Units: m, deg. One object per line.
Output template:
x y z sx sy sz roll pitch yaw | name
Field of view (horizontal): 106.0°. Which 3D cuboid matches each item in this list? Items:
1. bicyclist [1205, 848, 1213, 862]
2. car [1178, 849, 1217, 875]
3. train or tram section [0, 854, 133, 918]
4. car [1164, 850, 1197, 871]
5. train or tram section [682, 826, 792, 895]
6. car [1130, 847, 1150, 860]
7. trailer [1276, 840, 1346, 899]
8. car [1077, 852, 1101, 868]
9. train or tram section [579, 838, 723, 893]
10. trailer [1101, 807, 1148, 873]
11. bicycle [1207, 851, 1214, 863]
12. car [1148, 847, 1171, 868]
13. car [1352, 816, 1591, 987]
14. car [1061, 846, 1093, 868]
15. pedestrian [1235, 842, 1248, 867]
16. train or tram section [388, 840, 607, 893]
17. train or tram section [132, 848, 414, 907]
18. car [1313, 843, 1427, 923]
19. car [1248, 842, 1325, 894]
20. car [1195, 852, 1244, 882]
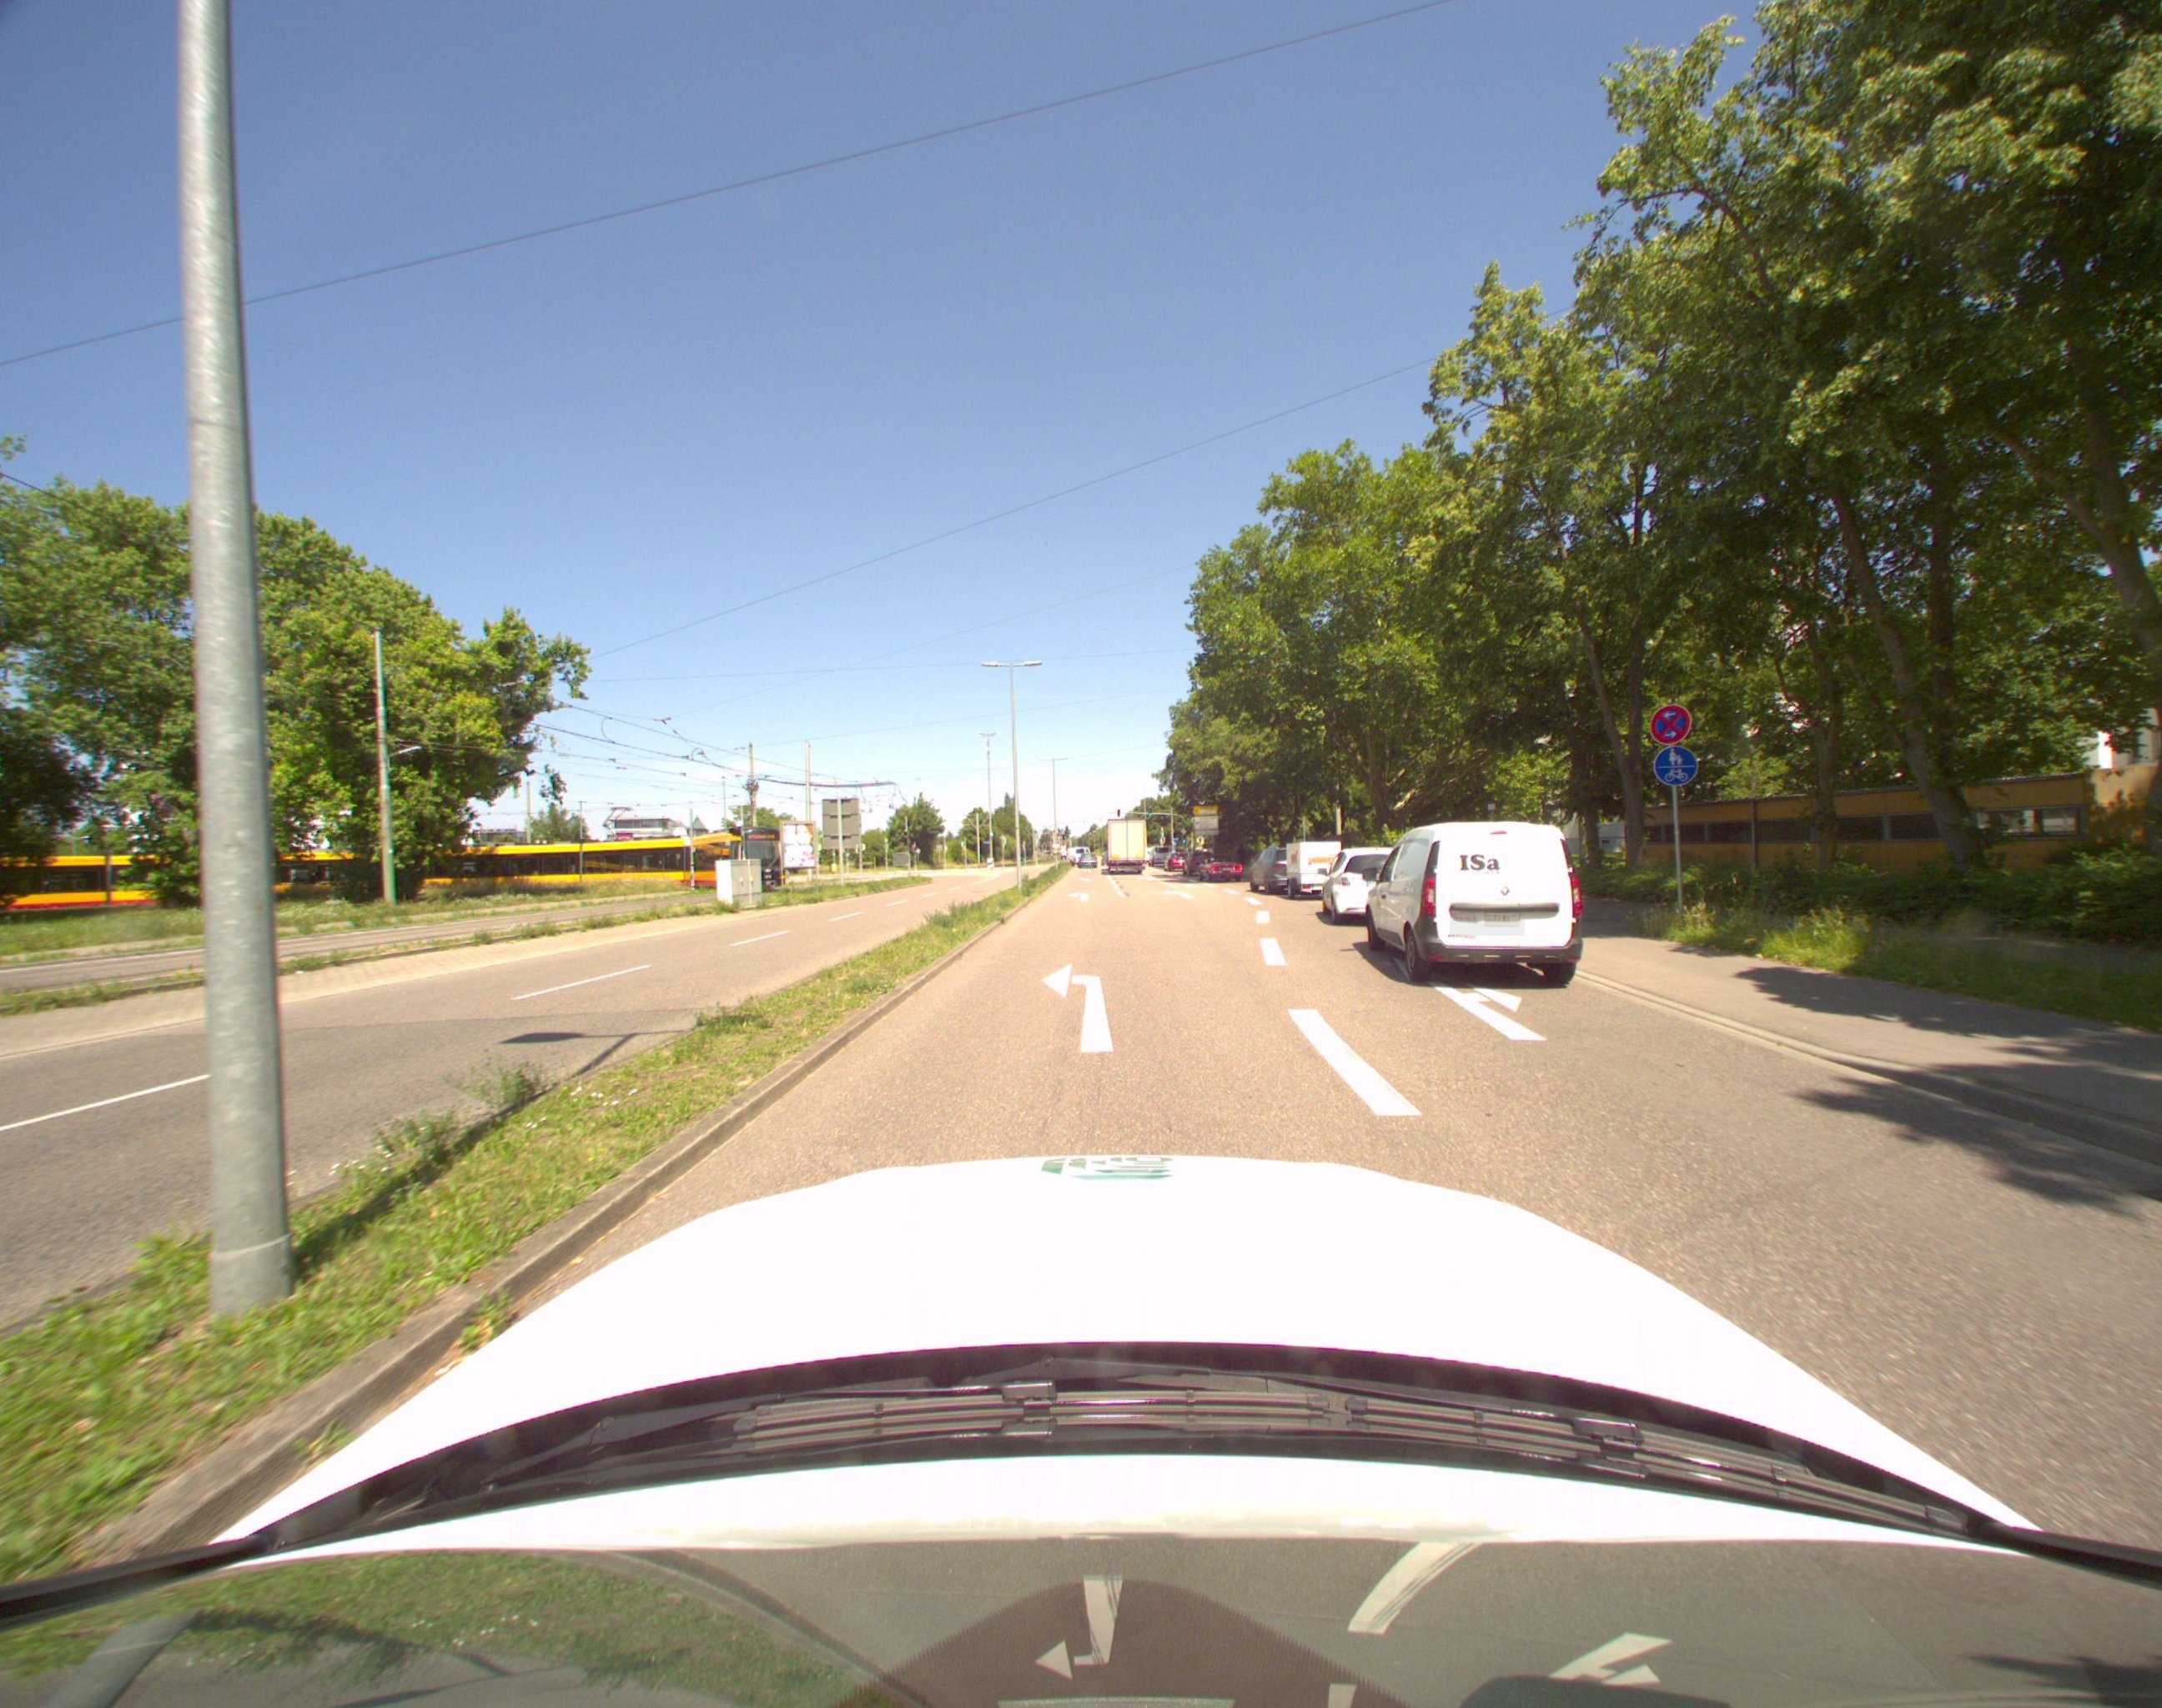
15.629 0.135 99.087 0.797 1.727 0.681 -4 -1 11 | bicyclist
7.324 0.481 51.403 1.852 1.549 3.886 -1 0 -1 | car
-60.434 1.793 44.893 3.007 3.466 10.288 0 0 31 | train or tram section
7.632 0.470 62.948 1.987 1.503 4.502 -2 1 0 | car
-20.149 0.313 46.963 3.059 3.466 13.147 -1 0 -35 | train or tram section
6.949 -0.097 96.835 1.988 1.437 4.249 -1 1 -1 | car
6.905 0.441 24.666 1.462 1.669 2.858 0 0 3 | trailer
0.785 0.569 76.852 1.883 1.372 4.437 1 -2 6 | car
-29.003 0.722 54.750 10.097 3.466 3.064 0 0 25 | train or tram section
3.020 -0.951 58.793 2.819 4.421 8.746 -1 0 -1 | trailer
15.746 0.349 99.092 0.640 1.304 1.631 -4 -1 12 | bicycle
7.821 0.334 81.278 1.885 2.121 3.886 -1 0 -1 | car
4.754 0.481 10.632 1.699 1.747 4.440 0 0 10 | car
-0.406 0.261 84.047 1.998 2.111 4.720 -2 1 -17 | car
12.006 0.013 60.871 0.750 1.815 0.693 -3 0 -1 | pedestrian
-40.299 0.813 56.593 12.676 3.466 3.044 -1 0 -3 | train or tram section
-52.332 1.395 53.617 12.804 3.466 3.013 -1 0 -35 | train or tram section
5.940 0.526 17.126 1.709 1.488 3.890 0 0 11 | car
7.024 0.428 28.298 1.693 1.654 4.401 -1 0 2 | car
6.821 0.587 40.422 1.650 1.396 4.266 -1 0 -1 | car
